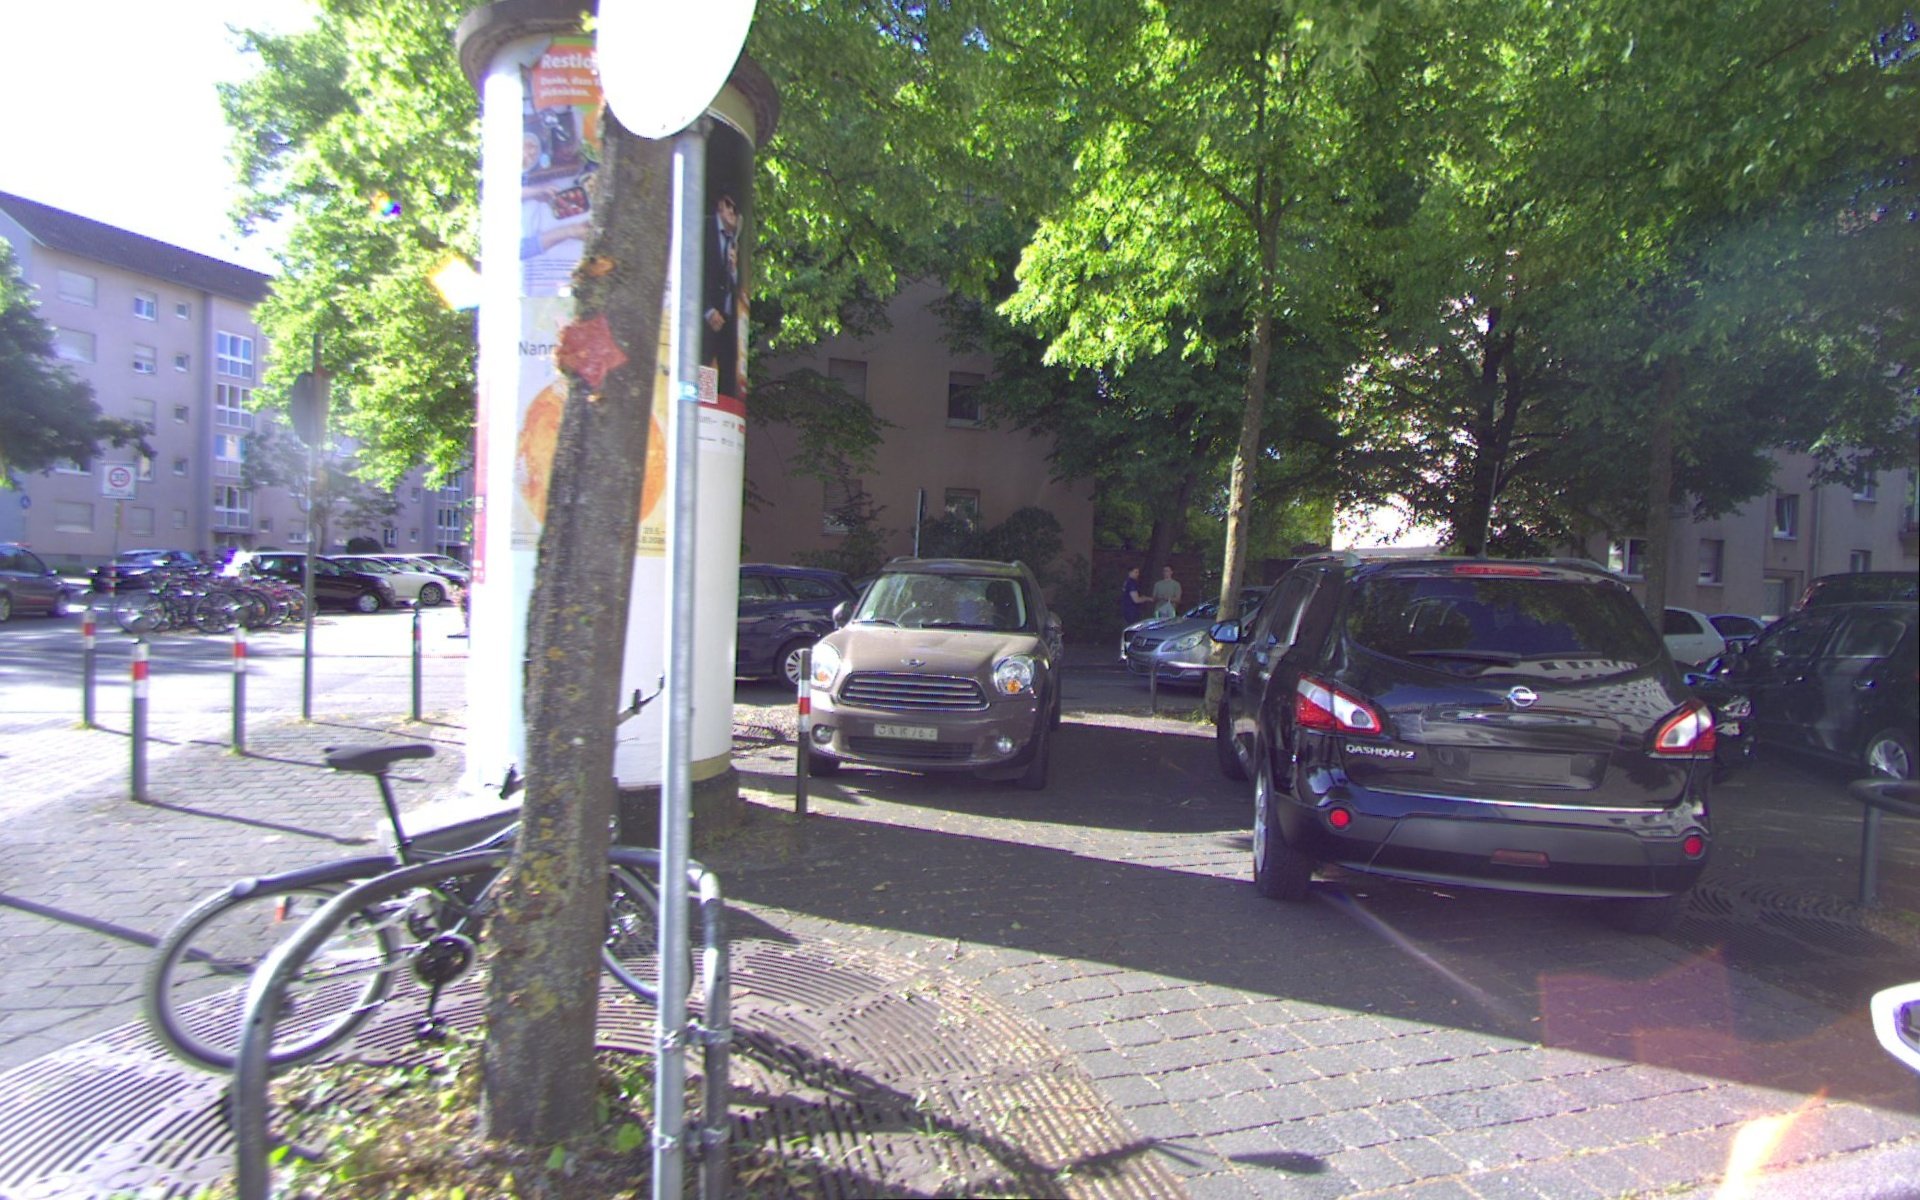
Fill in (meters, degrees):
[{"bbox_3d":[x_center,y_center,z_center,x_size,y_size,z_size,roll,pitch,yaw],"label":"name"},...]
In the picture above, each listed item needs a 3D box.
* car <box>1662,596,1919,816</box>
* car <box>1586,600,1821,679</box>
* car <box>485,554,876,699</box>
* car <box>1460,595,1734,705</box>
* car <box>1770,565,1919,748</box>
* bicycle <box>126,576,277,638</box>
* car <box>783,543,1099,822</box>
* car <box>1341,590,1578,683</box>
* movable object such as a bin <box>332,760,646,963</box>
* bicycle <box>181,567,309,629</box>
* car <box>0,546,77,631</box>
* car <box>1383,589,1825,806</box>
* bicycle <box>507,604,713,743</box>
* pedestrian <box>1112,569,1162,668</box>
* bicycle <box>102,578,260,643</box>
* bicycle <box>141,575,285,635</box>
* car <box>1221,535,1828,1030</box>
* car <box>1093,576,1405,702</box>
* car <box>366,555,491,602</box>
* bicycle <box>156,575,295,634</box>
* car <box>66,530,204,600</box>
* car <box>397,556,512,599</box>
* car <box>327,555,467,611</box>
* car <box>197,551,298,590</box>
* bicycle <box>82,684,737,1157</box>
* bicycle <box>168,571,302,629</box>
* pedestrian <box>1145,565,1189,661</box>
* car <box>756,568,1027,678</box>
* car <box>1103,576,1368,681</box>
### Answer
[{"bbox_3d":[7.870,0.768,8.482,1.726,1.501,3.825,2,1,11],"label":"car"},{"bbox_3d":[15.655,0.822,21.182,4.274,1.454,1.763,2,1,-17],"label":"car"},{"bbox_3d":[-3.323,0.321,12.318,4.231,1.539,1.902,2,1,-17],"label":"car"},{"bbox_3d":[9.994,0.757,15.757,3.895,1.506,1.749,2,1,-24],"label":"car"},{"bbox_3d":[11.079,0.615,10.898,1.897,1.898,4.504,3,1,16],"label":"car"},{"bbox_3d":[-13.182,0.131,17.524,2.007,1.045,0.567,1,1,-26],"label":"bicycle"},{"bbox_3d":[0.007,0.482,8.128,1.884,1.632,4.001,2,1,4],"label":"car"},{"bbox_3d":[9.571,0.687,19.312,3.886,1.591,1.753,2,1,-17],"label":"car"},{"bbox_3d":[-1.981,1.052,4.265,1.104,0.572,0.571,1,1,-38],"label":"movable object such as a bin"},{"bbox_3d":[-14.339,-0.034,20.212,2.007,1.193,0.664,1,1,-26],"label":"bicycle"},{"bbox_3d":[-18.992,-0.272,19.775,1.600,1.582,3.235,1,1,-26],"label":"car"},{"bbox_3d":[5.382,0.662,9.116,1.785,1.441,3.951,2,1,7],"label":"car"},{"bbox_3d":[-2.908,0.599,8.412,1.573,1.086,0.351,2,1,-28],"label":"bicycle"},{"bbox_3d":[3.229,0.325,18.360,0.532,1.759,0.738,2,1,-21],"label":"pedestrian"},{"bbox_3d":[-12.997,0.178,16.834,2.007,1.045,0.567,1,1,-26],"label":"bicycle"},{"bbox_3d":[-13.377,0.096,18.050,2.007,1.045,0.465,1,1,-26],"label":"bicycle"},{"bbox_3d":[2.553,0.543,5.810,1.800,1.694,4.338,2,3,12],"label":"car"},{"bbox_3d":[3.975,0.511,13.817,3.895,1.506,1.749,2,1,-24],"label":"car"},{"bbox_3d":[-18.416,-0.725,34.859,3.566,1.501,1.601,1,1,-42],"label":"car"},{"bbox_3d":[-13.511,0.086,18.531,2.007,1.045,0.445,1,1,-26],"label":"bicycle"},{"bbox_3d":[-26.549,-1.094,32.515,2.133,2.040,4.404,2,1,-21],"label":"car"},{"bbox_3d":[-19.018,-0.832,37.826,3.566,1.501,1.601,1,1,-42],"label":"car"},{"bbox_3d":[-16.184,-0.477,28.928,3.233,1.501,1.601,1,1,-42],"label":"car"},{"bbox_3d":[-36.801,-1.530,51.879,4.338,1.822,2.068,2,1,18],"label":"car"},{"bbox_3d":[-1.490,0.818,2.945,1.573,1.086,0.351,2,1,-28],"label":"bicycle"},{"bbox_3d":[-13.733,0.005,19.088,2.007,1.045,0.445,1,1,-26],"label":"bicycle"},{"bbox_3d":[3.920,0.232,19.019,0.727,1.759,0.540,2,1,16],"label":"pedestrian"},{"bbox_3d":[-1.103,0.348,15.622,3.886,1.532,1.753,2,1,-18],"label":"car"},{"bbox_3d":[4.809,0.496,17.593,4.181,1.662,1.752,2,1,-19],"label":"car"}]
